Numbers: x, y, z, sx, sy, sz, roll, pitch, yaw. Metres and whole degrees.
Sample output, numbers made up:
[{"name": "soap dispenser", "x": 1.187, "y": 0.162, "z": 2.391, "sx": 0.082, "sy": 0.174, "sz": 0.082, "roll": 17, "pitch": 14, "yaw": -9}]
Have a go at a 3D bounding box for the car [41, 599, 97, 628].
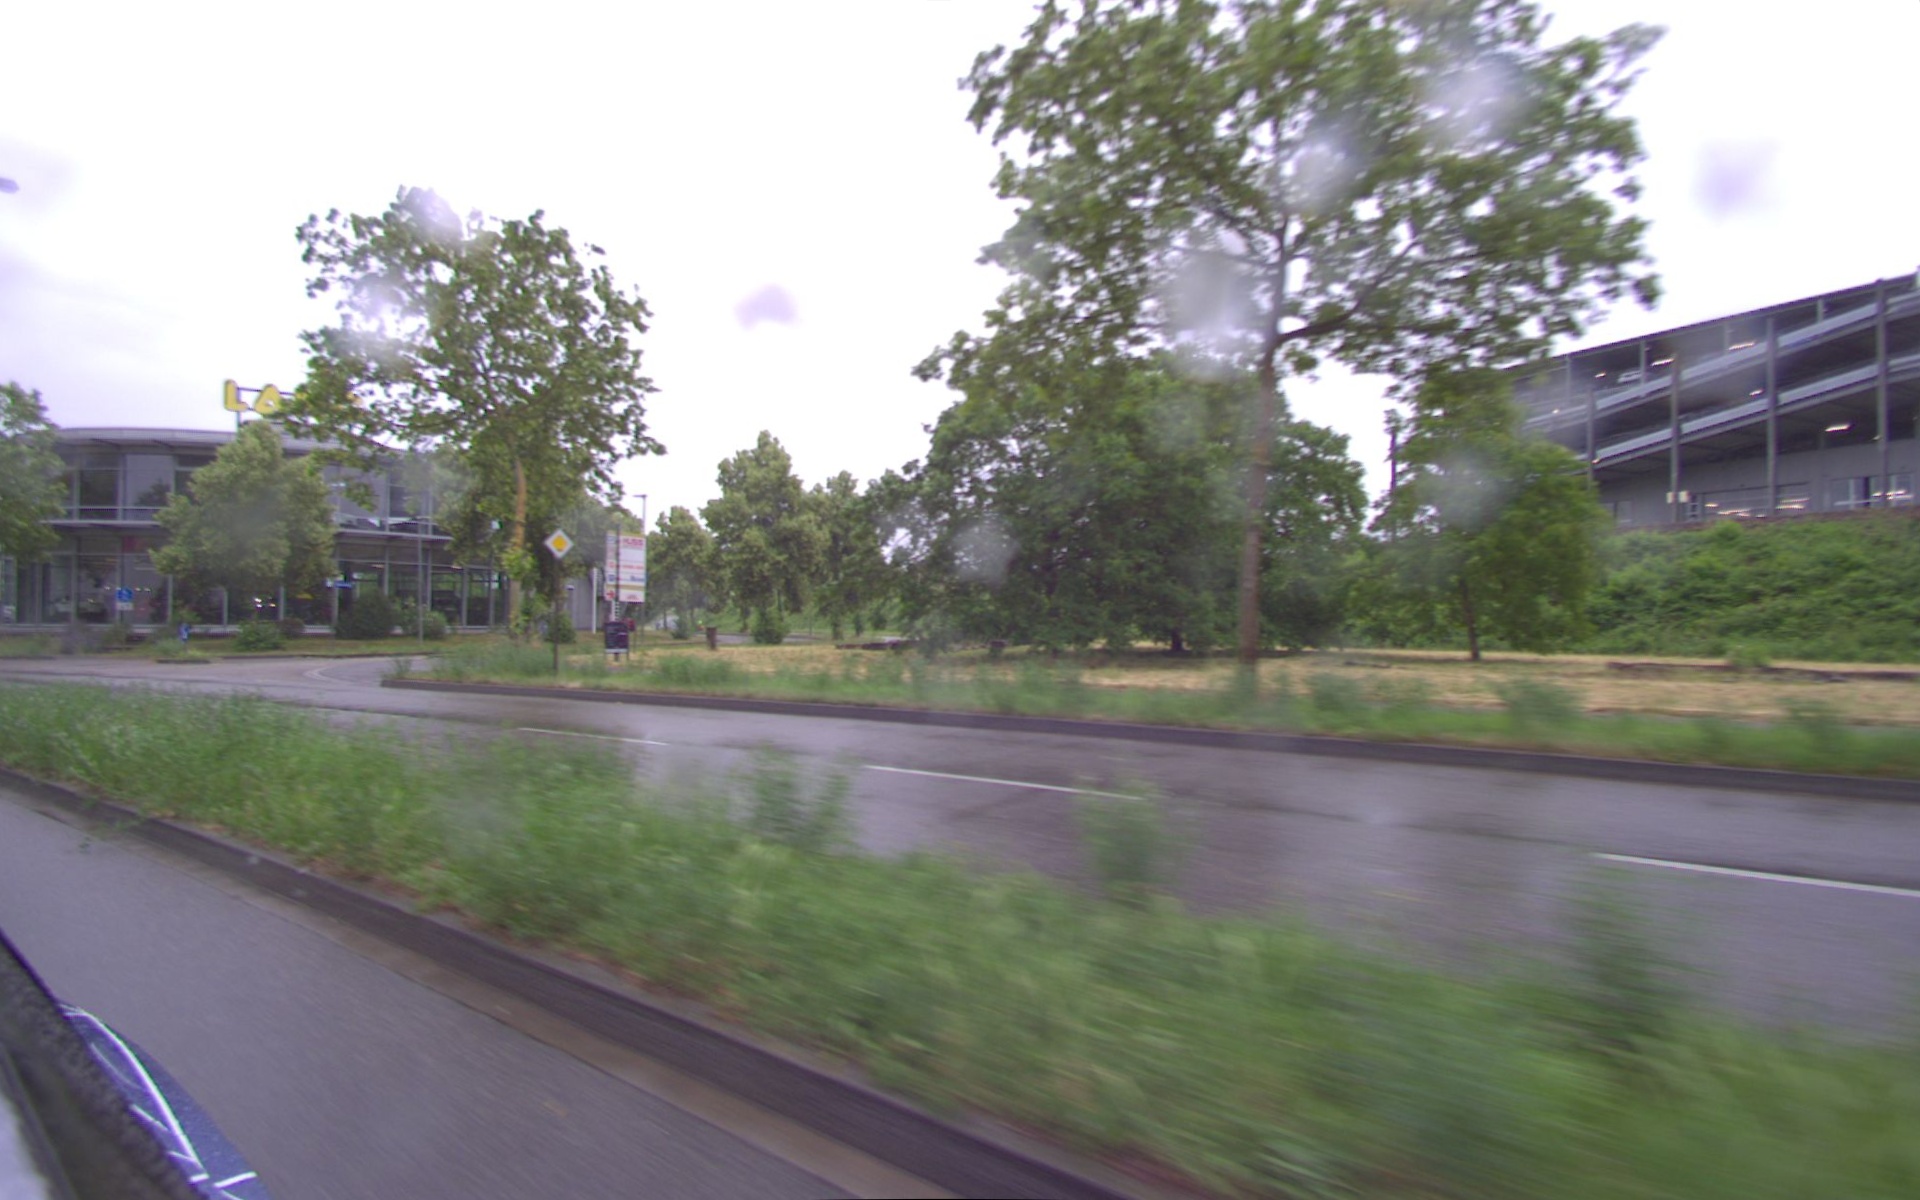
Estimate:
[{"name": "car", "x": -46.716, "y": 0.720, "z": 53.016, "sx": 4.111, "sy": 1.487, "sz": 1.760, "roll": -1, "pitch": -1, "yaw": 42}]
